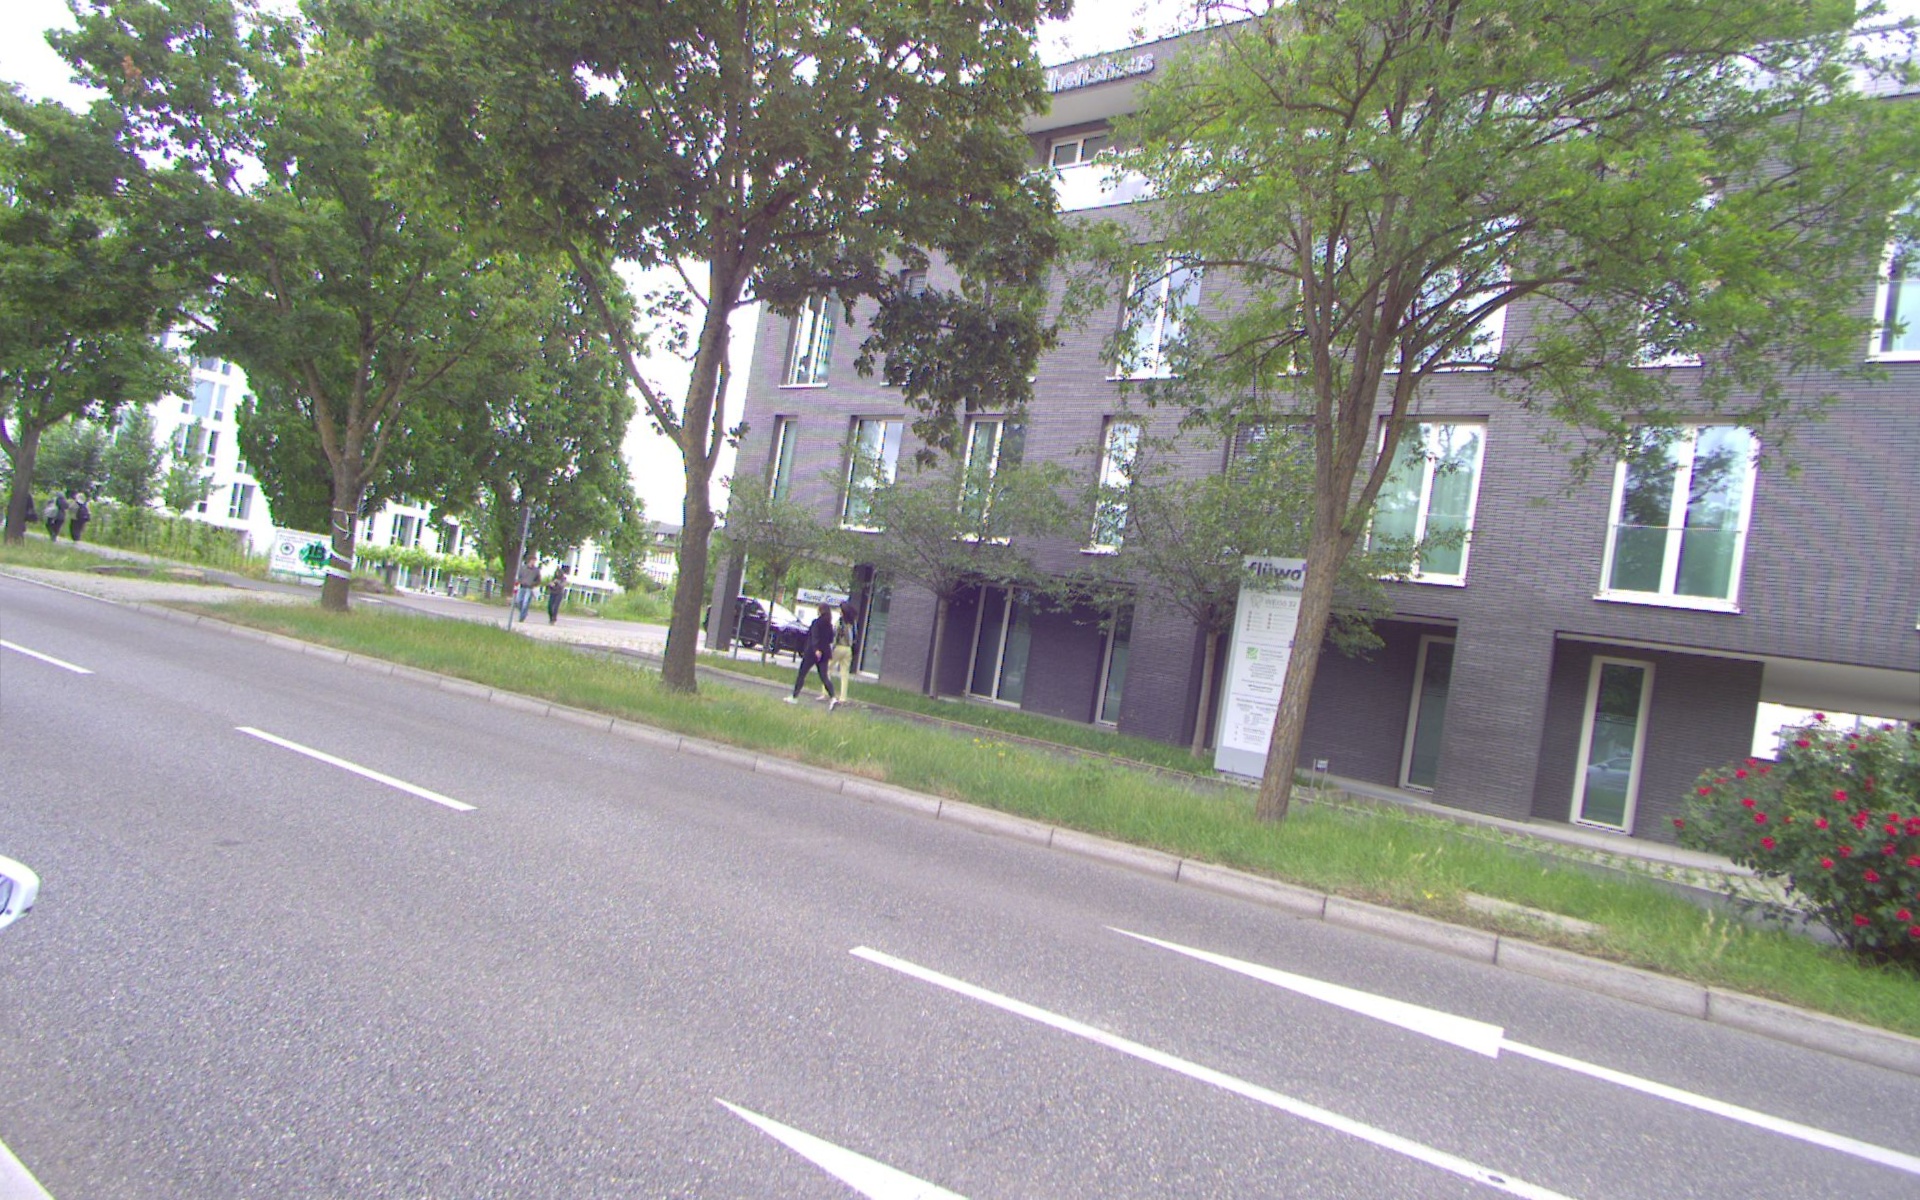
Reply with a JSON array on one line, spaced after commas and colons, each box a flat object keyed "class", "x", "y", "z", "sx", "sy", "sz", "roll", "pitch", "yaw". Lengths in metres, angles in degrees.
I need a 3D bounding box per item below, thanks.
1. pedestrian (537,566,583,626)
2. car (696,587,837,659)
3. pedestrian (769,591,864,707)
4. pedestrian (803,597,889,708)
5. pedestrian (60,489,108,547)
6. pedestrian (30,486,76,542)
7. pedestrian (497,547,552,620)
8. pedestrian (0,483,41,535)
[{"class": "pedestrian", "x": -11.423, "y": -0.107, "z": 28.753, "sx": 0.821, "sy": 1.575, "sz": 0.875, "roll": 8, "pitch": -1, "yaw": -8}, {"class": "car", "x": -6.109, "y": 0.716, "z": 31.683, "sx": 4.080, "sy": 1.665, "sz": 1.759, "roll": 7, "pitch": -2, "yaw": 32}, {"class": "pedestrian", "x": -2.291, "y": 0.786, "z": 16.060, "sx": 1.043, "sy": 1.679, "sz": 0.796, "roll": 7, "pitch": -1, "yaw": 38}, {"class": "pedestrian", "x": -1.893, "y": 0.873, "z": 16.713, "sx": 0.937, "sy": 1.679, "sz": 0.779, "roll": 7, "pitch": -1, "yaw": 38}, {"class": "pedestrian", "x": -28.273, "y": -2.639, "z": 32.464, "sx": 0.868, "sy": 1.705, "sz": 0.768, "roll": 6, "pitch": -1, "yaw": 31}, {"class": "pedestrian", "x": -28.681, "y": -2.720, "z": 31.807, "sx": 0.868, "sy": 1.614, "sz": 0.701, "roll": 6, "pitch": -1, "yaw": 31}, {"class": "pedestrian", "x": -12.168, "y": -0.436, "z": 28.125, "sx": 0.946, "sy": 1.889, "sz": 0.978, "roll": 8, "pitch": -1, "yaw": -8}, {"class": "pedestrian", "x": -29.232, "y": -2.820, "z": 31.102, "sx": 1.093, "sy": 1.465, "sz": 0.791, "roll": 6, "pitch": -1, "yaw": 31}]
